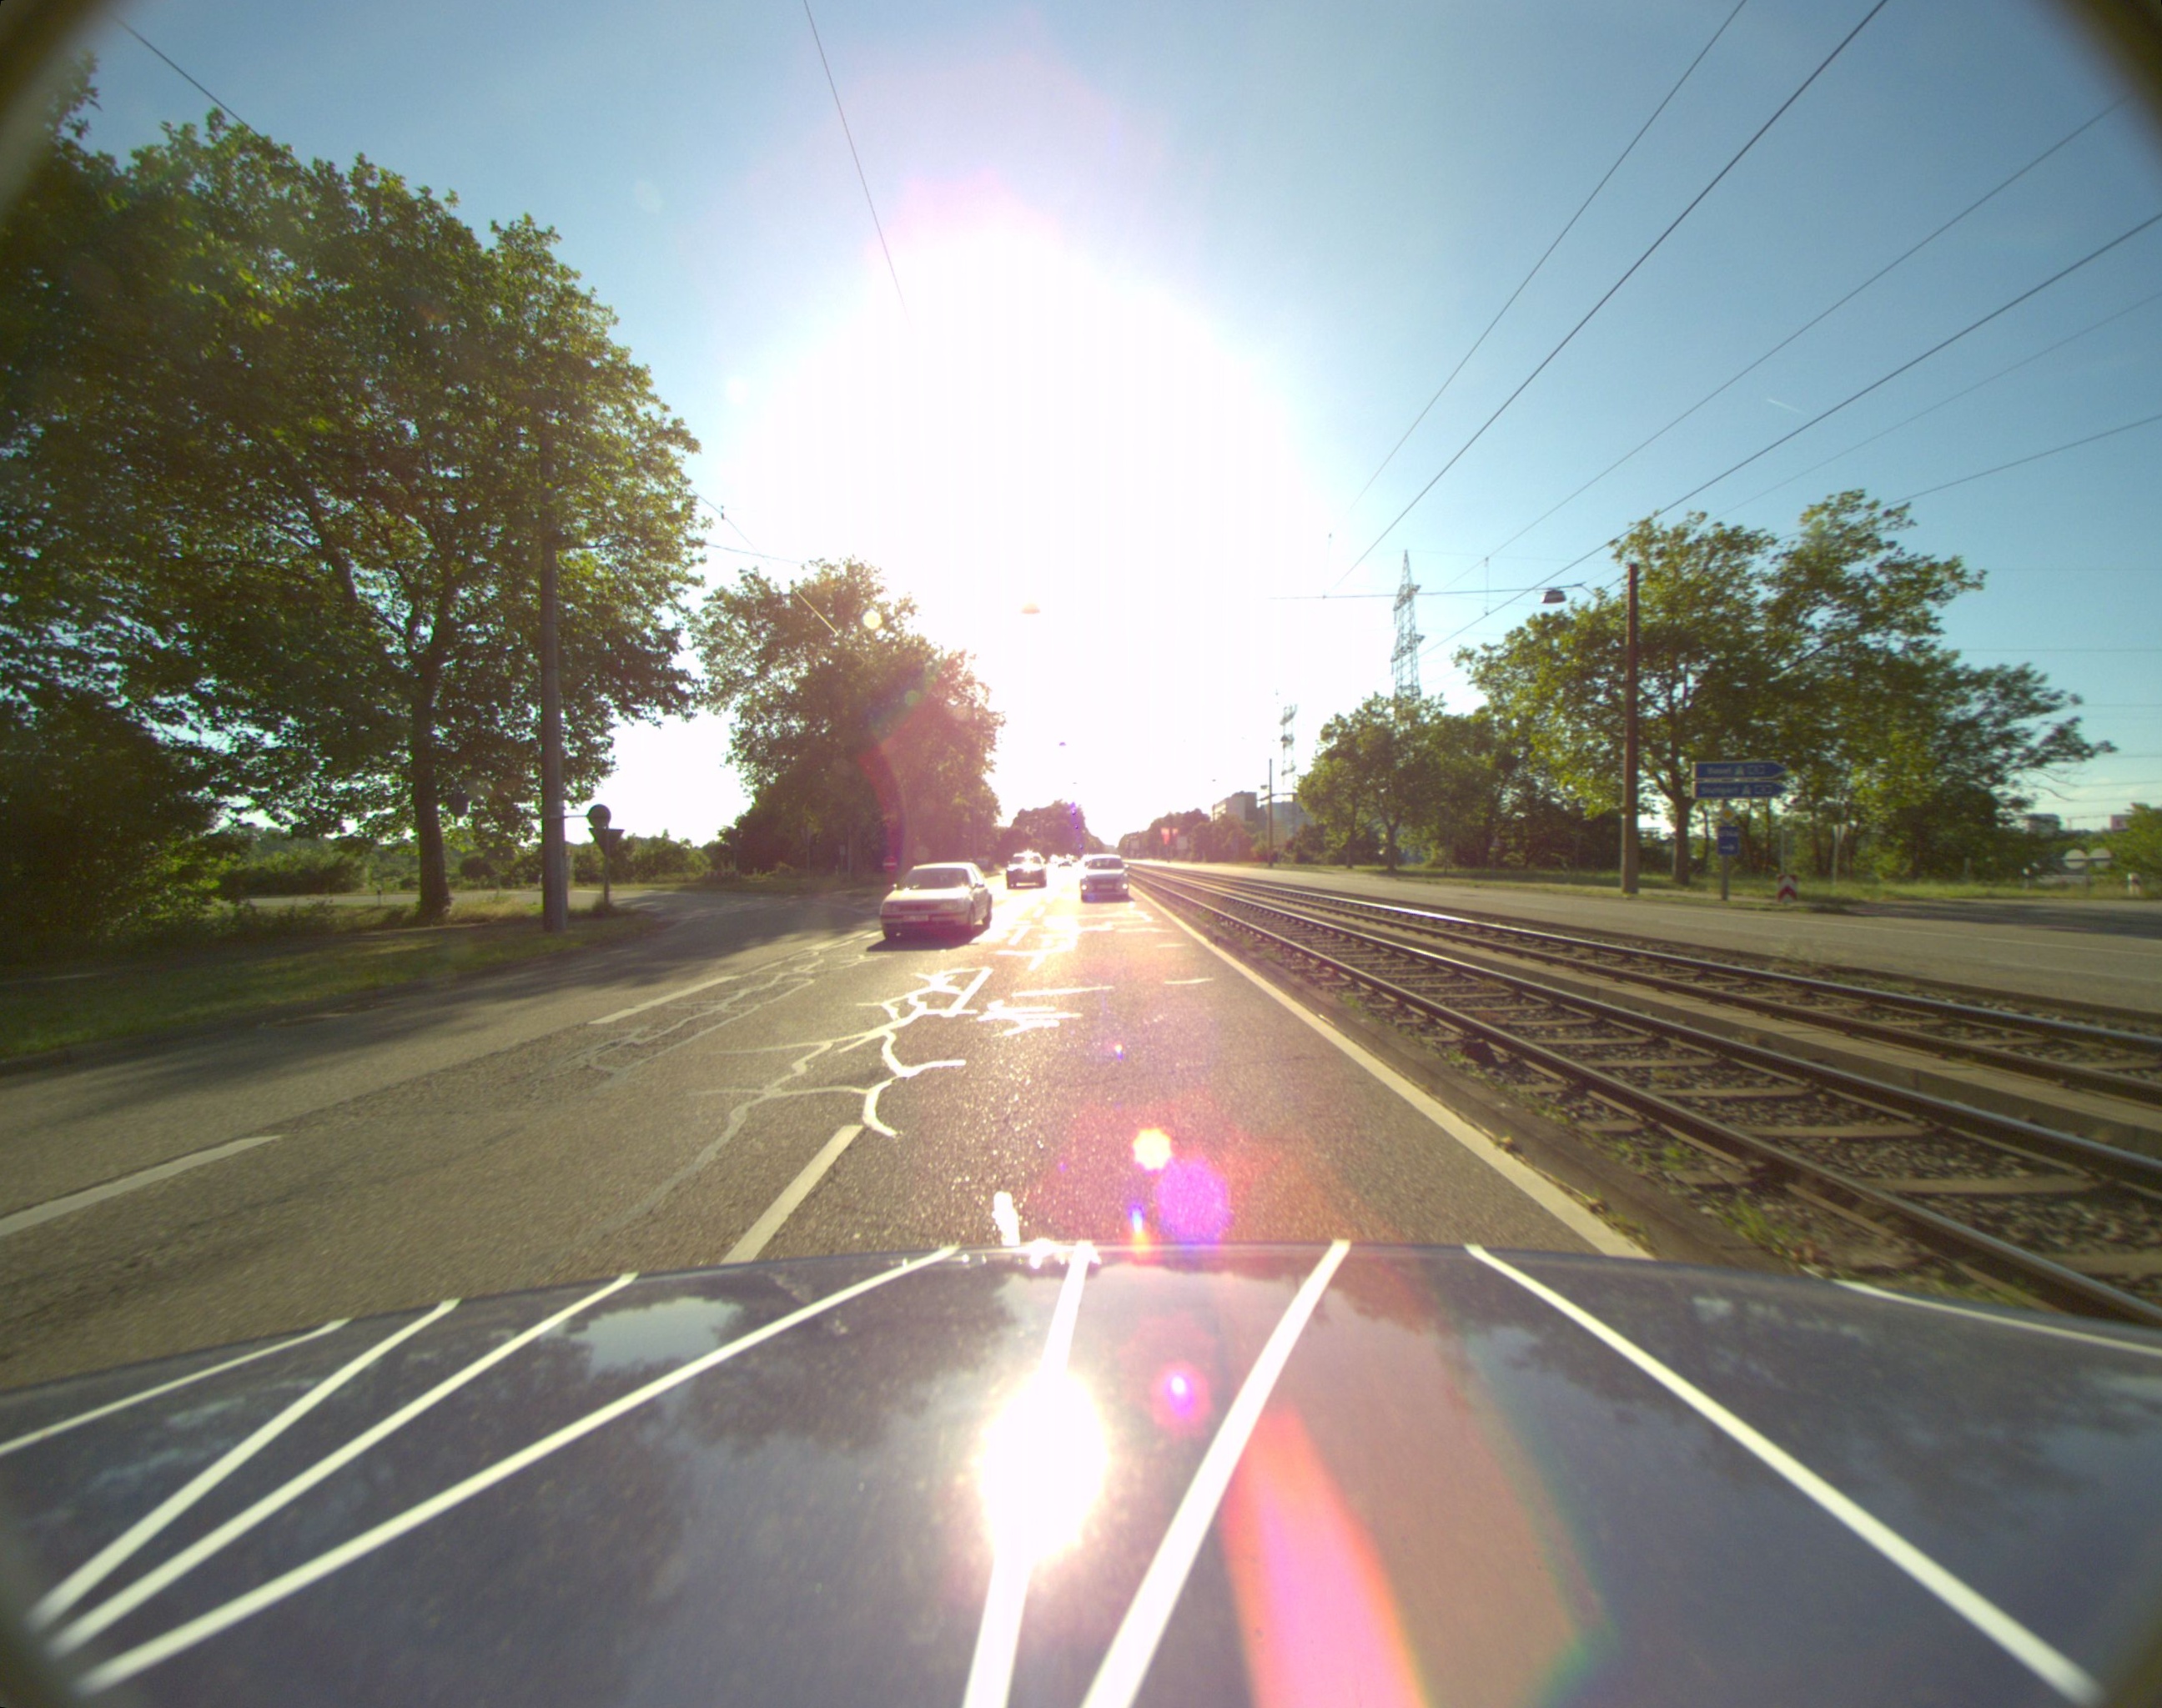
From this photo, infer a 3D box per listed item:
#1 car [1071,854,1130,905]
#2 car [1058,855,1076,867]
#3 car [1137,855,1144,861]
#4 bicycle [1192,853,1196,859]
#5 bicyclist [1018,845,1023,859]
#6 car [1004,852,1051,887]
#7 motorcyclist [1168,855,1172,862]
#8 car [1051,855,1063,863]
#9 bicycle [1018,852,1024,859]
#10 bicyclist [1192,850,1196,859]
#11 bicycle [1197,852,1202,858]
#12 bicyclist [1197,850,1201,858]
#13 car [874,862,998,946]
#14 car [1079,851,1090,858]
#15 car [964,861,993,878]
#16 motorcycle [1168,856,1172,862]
[{"bbox_3d":[0.725,0.820,26.921,1.881,1.591,4.417,-1,1,2],"label":"car"},{"bbox_3d":[-1.721,0.858,95.137,1.881,1.449,4.417,-1,1,2],"label":"car"},{"bbox_3d":[20.018,1.277,255.243,1.998,1.911,4.861,0,-1,2],"label":"car"},{"bbox_3d":[21.571,0.422,145.209,0.591,1.016,2.185,0,1,0],"label":"bicycle"},{"bbox_3d":[-8.495,-0.250,107.196,0.528,2.005,0.729,-2,1,2],"label":"bicyclist"},{"bbox_3d":[-2.632,0.735,38.498,1.881,1.591,4.417,-1,1,2],"label":"car"},{"bbox_3d":[16.728,0.896,142.582,0.537,1.263,0.805,-3,1,1],"label":"motorcyclist"},{"bbox_3d":[-4.548,0.890,145.888,1.880,1.449,4.418,-1,1,4],"label":"car"},{"bbox_3d":[-8.484,0.225,106.991,0.528,1.054,1.972,-2,0,2],"label":"bicycle"},{"bbox_3d":[21.558,0.118,145.098,0.591,1.601,0.967,0,1,0],"label":"bicyclist"},{"bbox_3d":[22.669,0.202,145.441,0.591,1.016,2.185,0,1,0],"label":"bicycle"},{"bbox_3d":[22.655,-0.060,145.427,0.591,1.519,0.906,0,1,0],"label":"bicyclist"},{"bbox_3d":[-2.879,0.947,15.942,1.695,1.437,4.001,-1,1,2],"label":"car"},{"bbox_3d":[0.784,0.152,158.468,1.880,1.449,4.418,-1,1,4],"label":"car"},{"bbox_3d":[-9.864,1.490,73.672,1.881,1.435,4.660,-1,1,3],"label":"car"},{"bbox_3d":[16.733,0.890,142.574,0.537,1.084,1.902,-3,1,1],"label":"motorcycle"}]
